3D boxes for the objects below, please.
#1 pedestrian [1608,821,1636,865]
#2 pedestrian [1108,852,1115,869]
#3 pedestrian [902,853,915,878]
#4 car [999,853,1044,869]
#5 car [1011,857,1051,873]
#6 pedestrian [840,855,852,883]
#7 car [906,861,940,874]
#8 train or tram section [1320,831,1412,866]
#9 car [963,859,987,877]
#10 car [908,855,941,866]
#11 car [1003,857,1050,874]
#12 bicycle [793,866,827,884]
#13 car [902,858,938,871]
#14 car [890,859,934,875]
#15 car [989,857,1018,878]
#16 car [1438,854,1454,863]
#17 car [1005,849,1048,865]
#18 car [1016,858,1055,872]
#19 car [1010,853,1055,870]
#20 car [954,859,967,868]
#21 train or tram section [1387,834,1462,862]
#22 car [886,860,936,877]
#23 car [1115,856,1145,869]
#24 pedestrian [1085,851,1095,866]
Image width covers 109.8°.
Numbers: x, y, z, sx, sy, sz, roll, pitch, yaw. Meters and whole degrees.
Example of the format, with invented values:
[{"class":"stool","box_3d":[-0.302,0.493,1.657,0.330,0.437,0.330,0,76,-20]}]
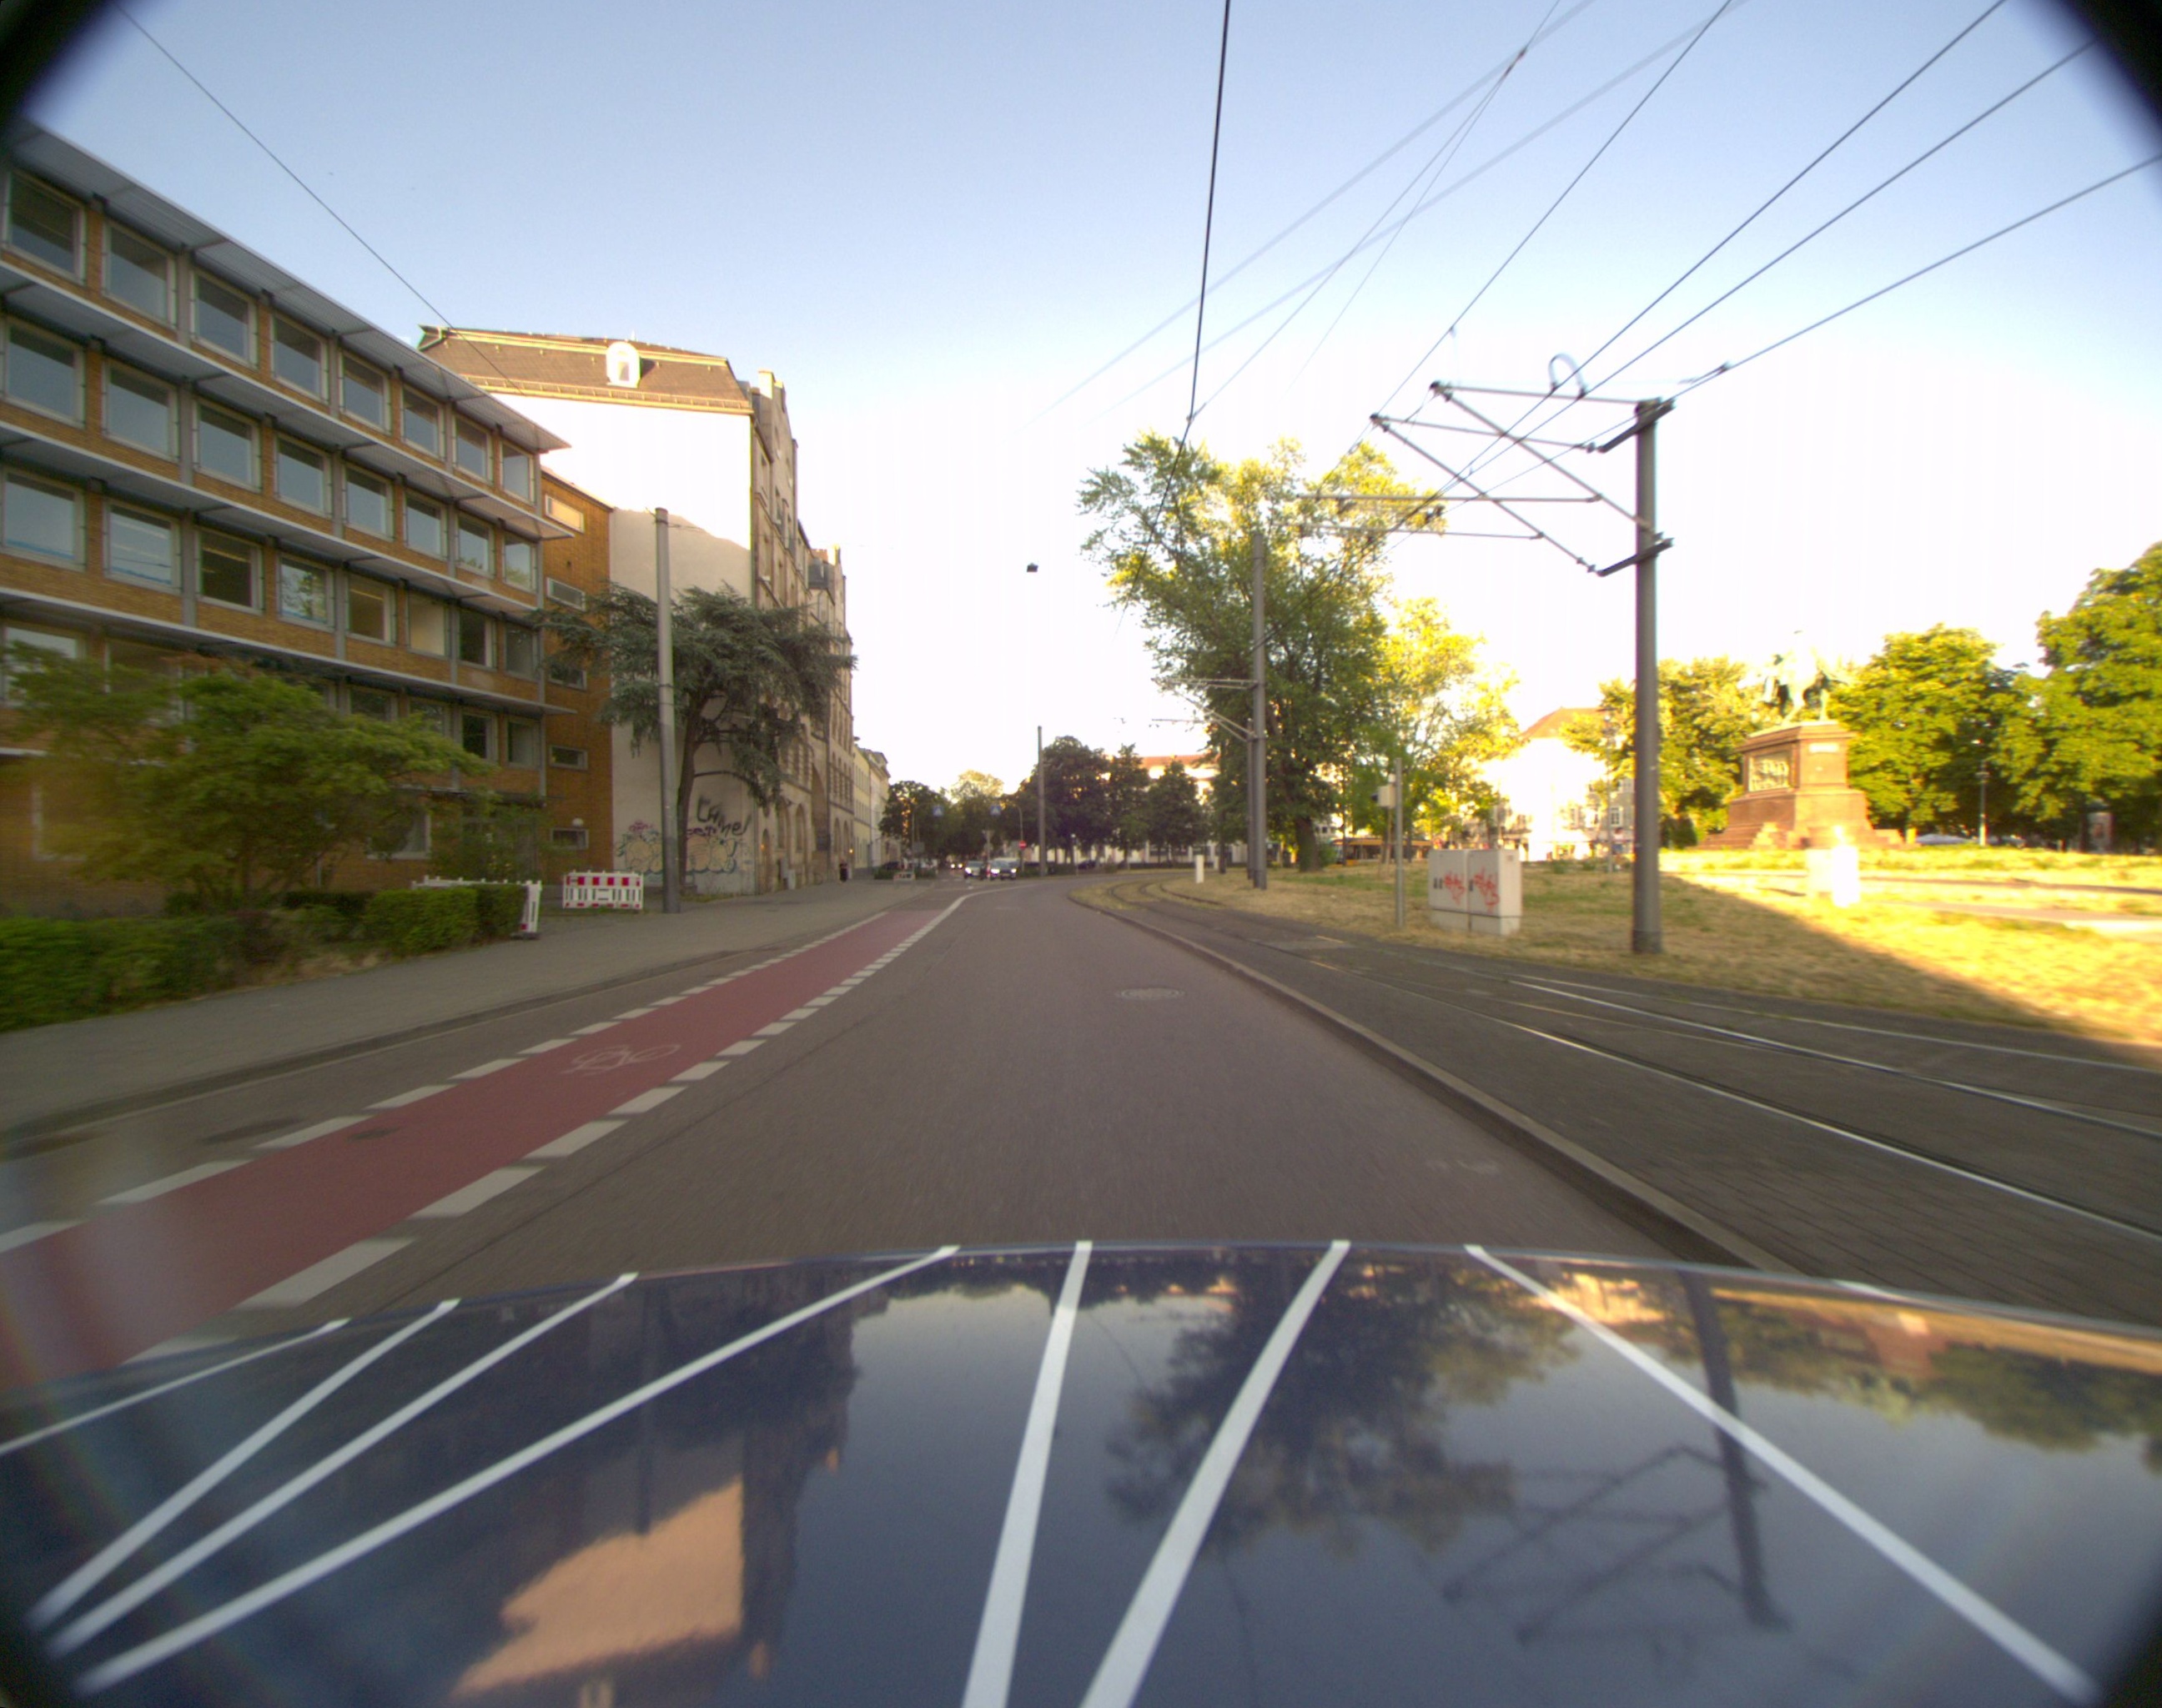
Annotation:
[{"class":"pedestrian","box_3d":[21.017,-0.414,29.515,0.476,1.680,0.835,0,0,-2]},{"class":"pedestrian","box_3d":[3.158,0.648,78.529,0.768,1.705,0.786,0,-1,5]},{"class":"pedestrian","box_3d":[-12.503,0.847,55.029,0.591,1.781,0.823,-1,-1,23]},{"class":"car","box_3d":[-7.313,0.886,93.826,5.073,1.891,2.124,-1,-1,13]},{"class":"car","box_3d":[-5.336,1.197,81.900,4.063,1.608,2.001,0,-1,5]},{"class":"pedestrian","box_3d":[-14.591,0.922,47.217,0.577,1.699,0.721,0,-1,-6]},{"class":"car","box_3d":[-19.538,1.708,94.361,4.069,1.542,1.998,0,-1,-10]},{"class":"train or tram section","box_3d":[30.977,-0.664,82.082,13.392,3.563,2.942,-1,1,-40]},{"class":"car","box_3d":[-9.040,1.193,64.529,1.821,1.473,4.132,0,-1,-12]},{"class":"car","box_3d":[-22.041,0.945,107.106,4.400,1.603,1.728,0,-1,-11]},{"class":"car","box_3d":[-5.025,1.114,70.713,4.063,1.547,1.867,0,-1,5]},{"class":"bicycle","box_3d":[-16.139,1.233,45.199,1.856,1.066,0.429,0,-1,-11]},{"class":"car","box_3d":[-18.796,1.237,88.909,4.069,1.542,1.998,0,-1,-10]},{"class":"car","box_3d":[-16.653,1.250,74.934,4.068,1.560,1.837,0,-1,-7]},{"class":"car","box_3d":[-5.587,0.978,54.676,1.821,1.473,4.133,0,-1,-9]},{"class":"car","box_3d":[62.540,0.783,130.235,1.721,1.542,3.972,0,-1,12]},{"class":"car","box_3d":[-6.959,0.415,96.784,5.073,2.010,1.970,-1,-1,13]},{"class":"car","box_3d":[-4.973,1.238,83.951,4.063,1.542,2.001,0,-1,5]},{"class":"car","box_3d":[-4.643,0.705,73.003,4.063,1.547,1.867,0,-1,5]},{"class":"car","box_3d":[-21.388,1.641,134.814,1.820,1.473,4.135,-1,-1,-2]},{"class":"train or tram section","box_3d":[41.084,-0.808,90.500,12.881,3.123,2.924,-1,1,-40]},{"class":"car","box_3d":[-15.617,1.332,70.089,4.399,1.548,1.836,0,-1,-8]},{"class":"car","box_3d":[6.725,1.191,104.078,4.007,1.714,1.703,0,-1,10]},{"class":"pedestrian","box_3d":[1.204,0.619,99.643,0.827,2.001,1.011,-1,-1,41]}]
